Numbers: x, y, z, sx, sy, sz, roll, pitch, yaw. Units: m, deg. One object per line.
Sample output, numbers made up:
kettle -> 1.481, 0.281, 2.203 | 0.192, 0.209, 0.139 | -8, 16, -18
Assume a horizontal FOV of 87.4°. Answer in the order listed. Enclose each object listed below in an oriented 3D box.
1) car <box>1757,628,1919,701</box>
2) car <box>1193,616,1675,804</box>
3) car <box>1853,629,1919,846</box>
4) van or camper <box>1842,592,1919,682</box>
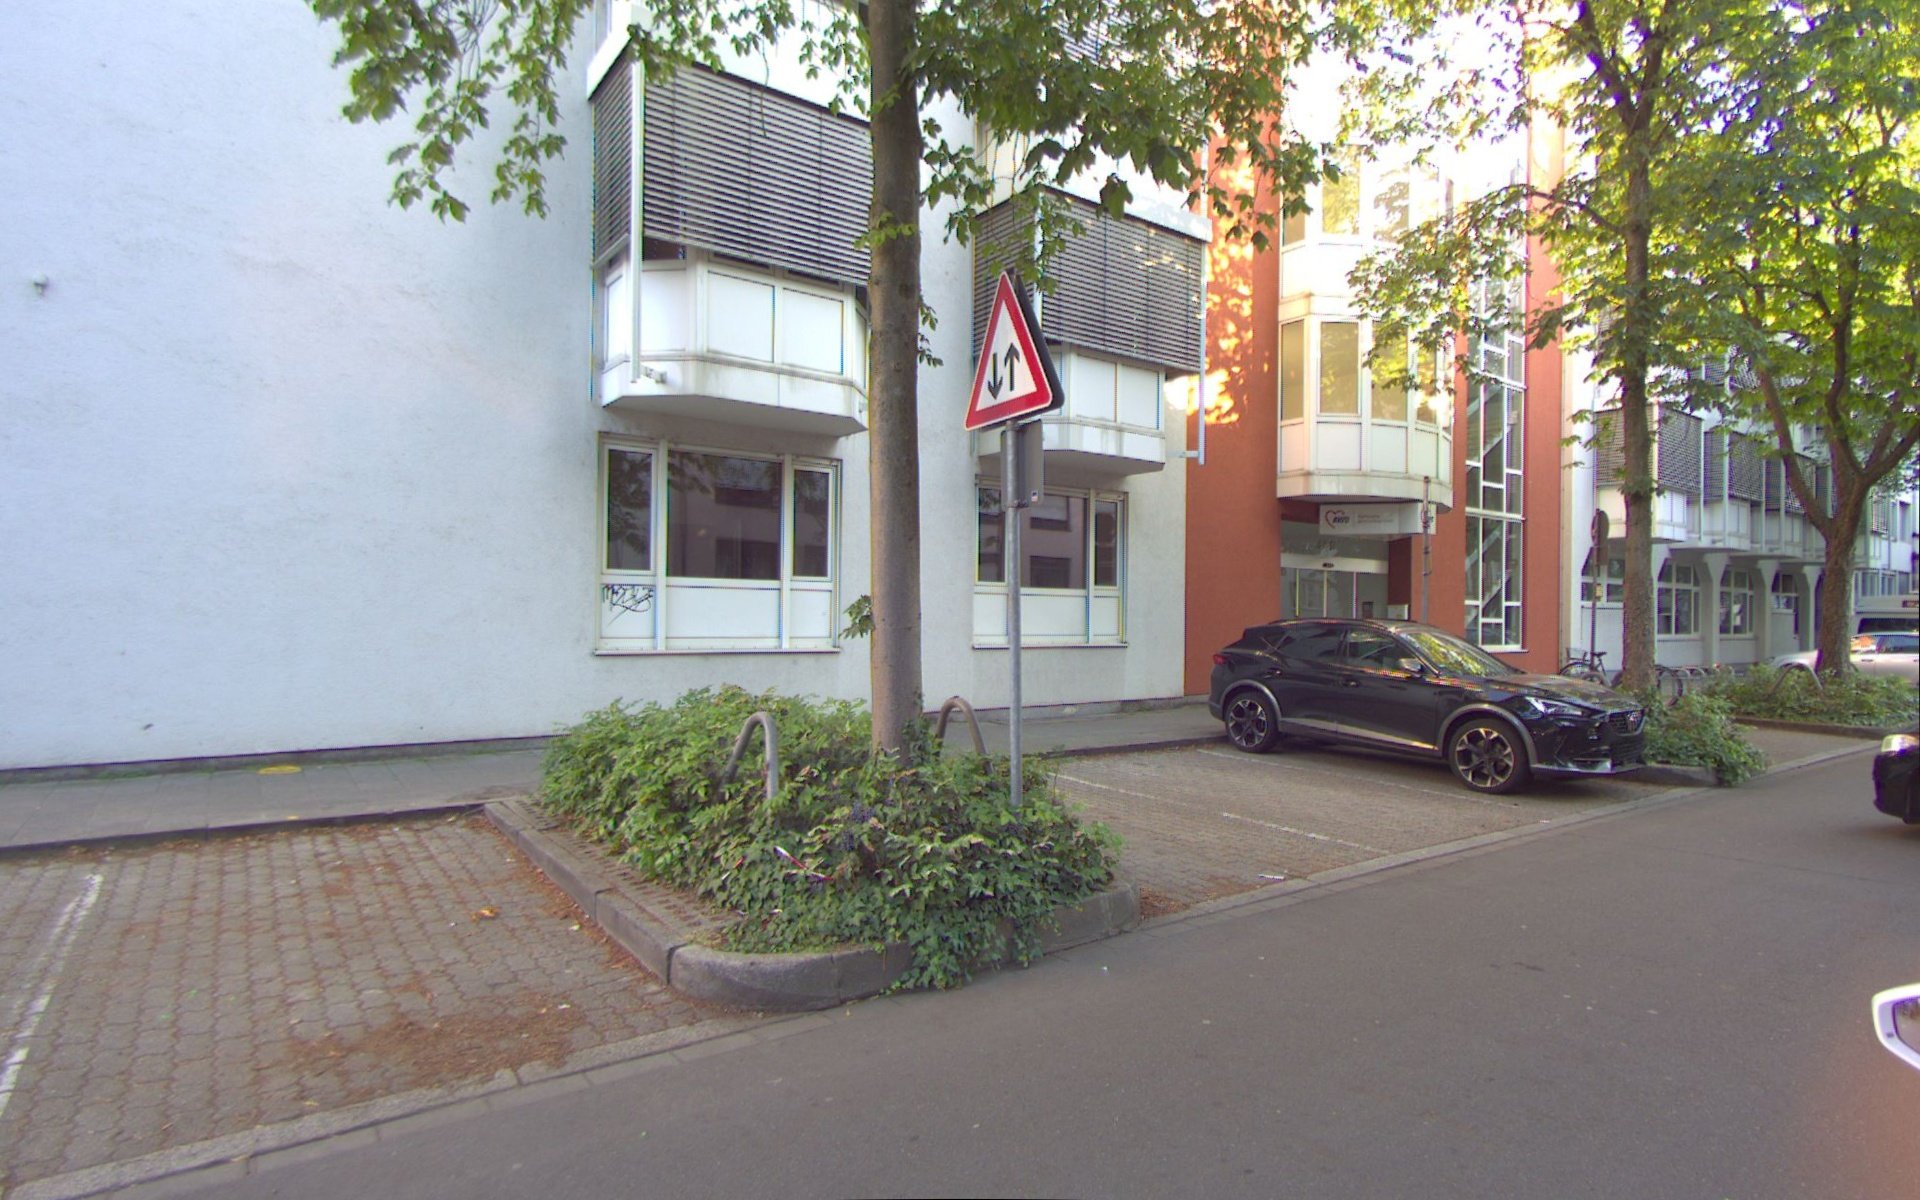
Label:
car -> 21.153, 1.452, 23.244 | 1.767, 1.537, 3.942 | 1, -1, -35
car -> 4.710, 0.959, 10.616 | 1.768, 1.537, 4.325 | 1, -1, -35
car -> 8.253, 0.957, 5.520 | 1.774, 1.499, 4.735 | 1, -1, -22
van or camper -> 27.893, 1.041, 28.045 | 1.981, 2.511, 4.632 | 1, -1, -36
